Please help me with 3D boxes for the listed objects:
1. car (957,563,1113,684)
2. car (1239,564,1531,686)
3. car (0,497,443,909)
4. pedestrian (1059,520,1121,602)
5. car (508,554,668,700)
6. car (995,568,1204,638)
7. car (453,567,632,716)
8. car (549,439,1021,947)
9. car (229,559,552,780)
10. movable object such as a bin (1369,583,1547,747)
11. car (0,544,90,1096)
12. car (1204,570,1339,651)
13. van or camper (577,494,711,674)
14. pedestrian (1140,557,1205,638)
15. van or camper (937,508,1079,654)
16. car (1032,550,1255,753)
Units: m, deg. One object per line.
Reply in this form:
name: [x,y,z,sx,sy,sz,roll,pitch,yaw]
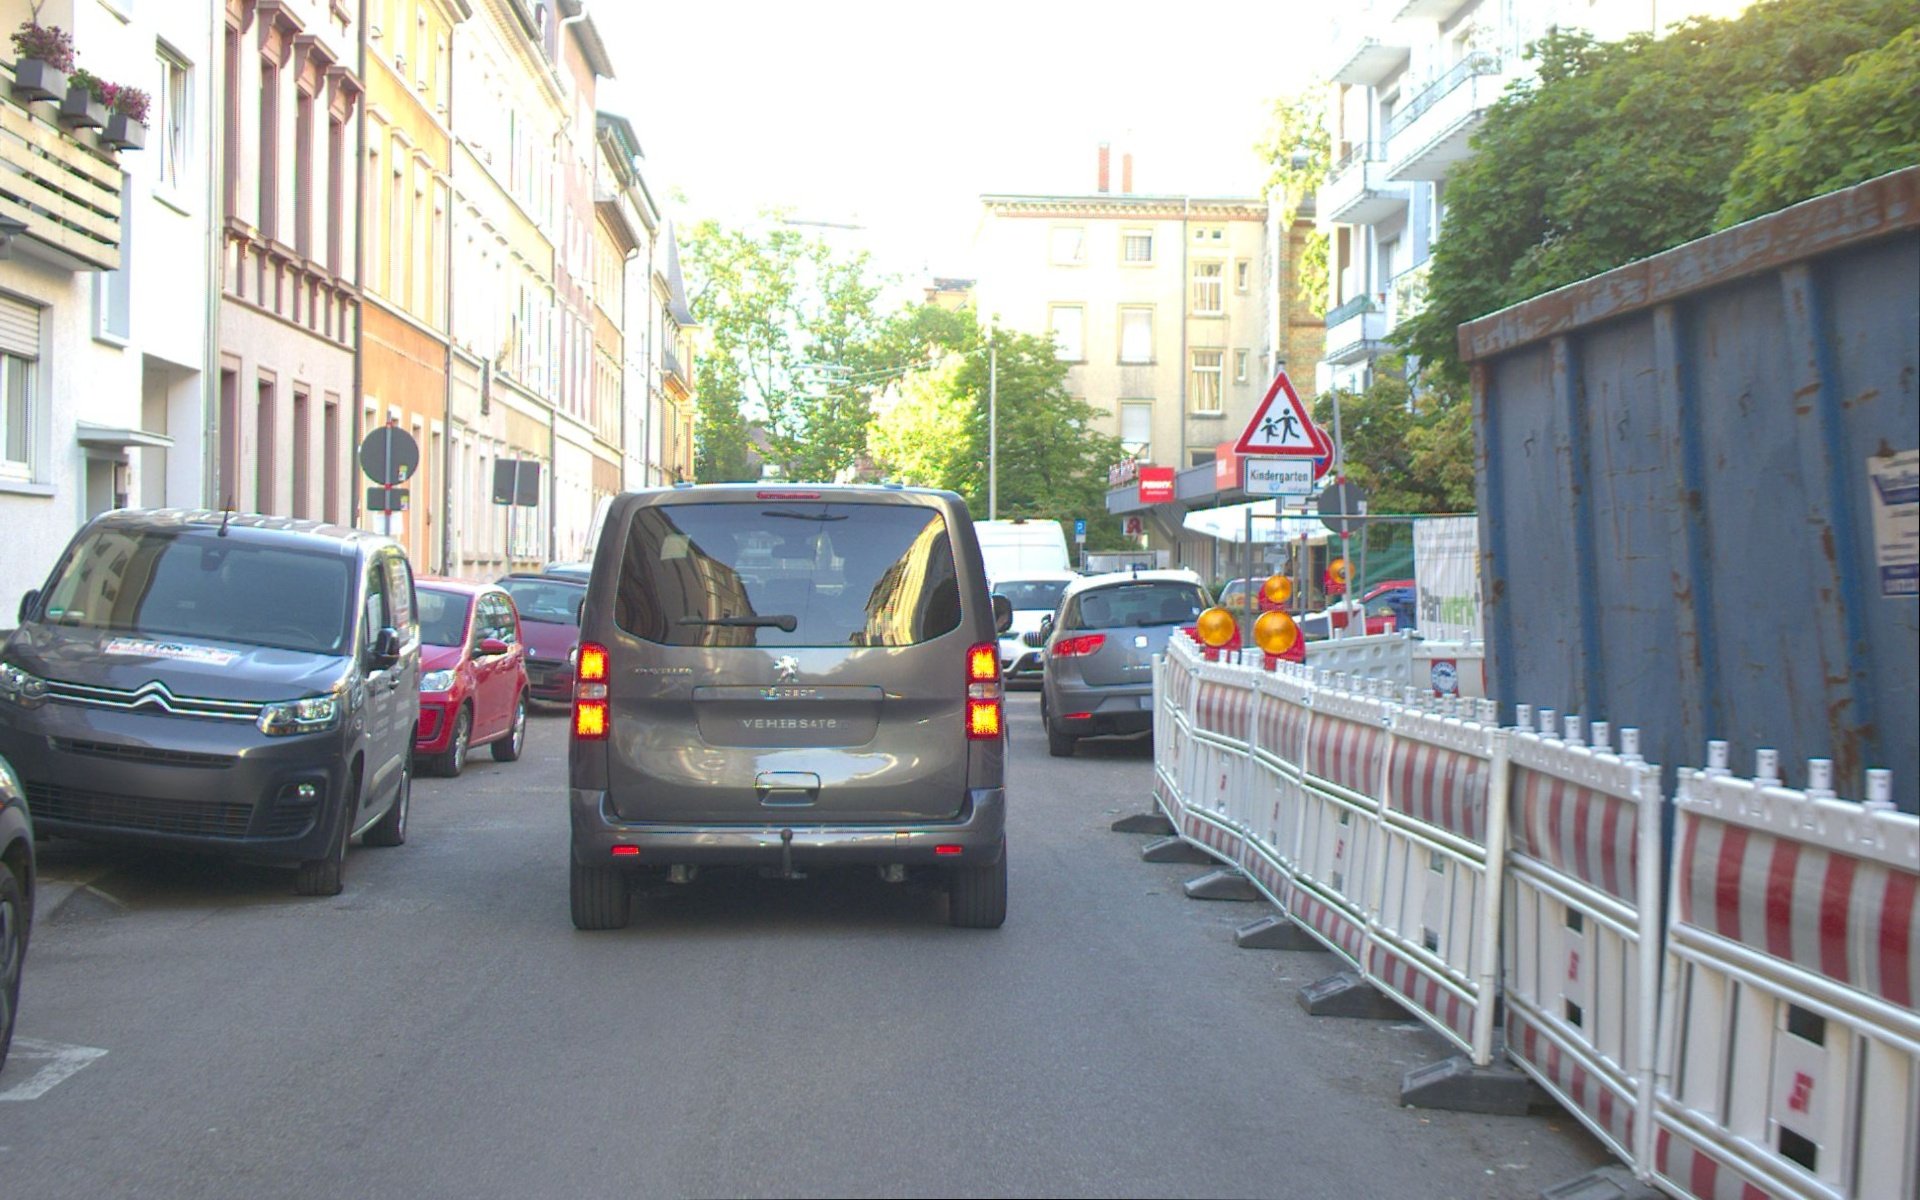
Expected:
car: [1.012,0.305,48.759,1.722,1.606,4.589,1,0,-5]
car: [6.108,0.347,49.690,3.895,1.602,1.694,2,0,-3]
car: [-3.935,0.439,17.993,1.993,1.852,4.585,1,1,-3]
pedestrian: [2.516,-0.757,66.475,0.870,1.550,0.876,-2,1,-24]
car: [-4.603,0.297,42.975,1.711,1.638,3.980,3,1,-3]
car: [3.187,0.056,79.044,4.625,1.461,1.841,-2,1,-2]
car: [-4.554,0.423,37.865,1.657,1.443,3.286,4,0,-3]
car: [-0.797,0.343,15.801,1.857,2.007,4.001,-1,1,-3]
car: [-4.457,0.501,27.401,1.669,1.480,3.605,6,1,3]
movable object such as a bin: [4.344,0.563,29.991,1.250,1.371,0.802,2,0,-27]
car: [-3.582,0.628,8.984,1.740,1.594,4.015,1,1,-3]
car: [5.646,0.169,62.041,1.601,1.411,3.225,0,0,21]
van or camper: [-4.930,-0.274,54.400,1.949,2.640,7.142,0,1,-4]
pedestrian: [4.564,-0.059,73.818,0.932,1.714,1.063,-1,1,-36]
van or camper: [0.829,-0.372,64.813,2.099,2.593,7.513,0,1,-4]
car: [1.613,0.411,31.524,1.749,1.677,4.525,2,1,0]
